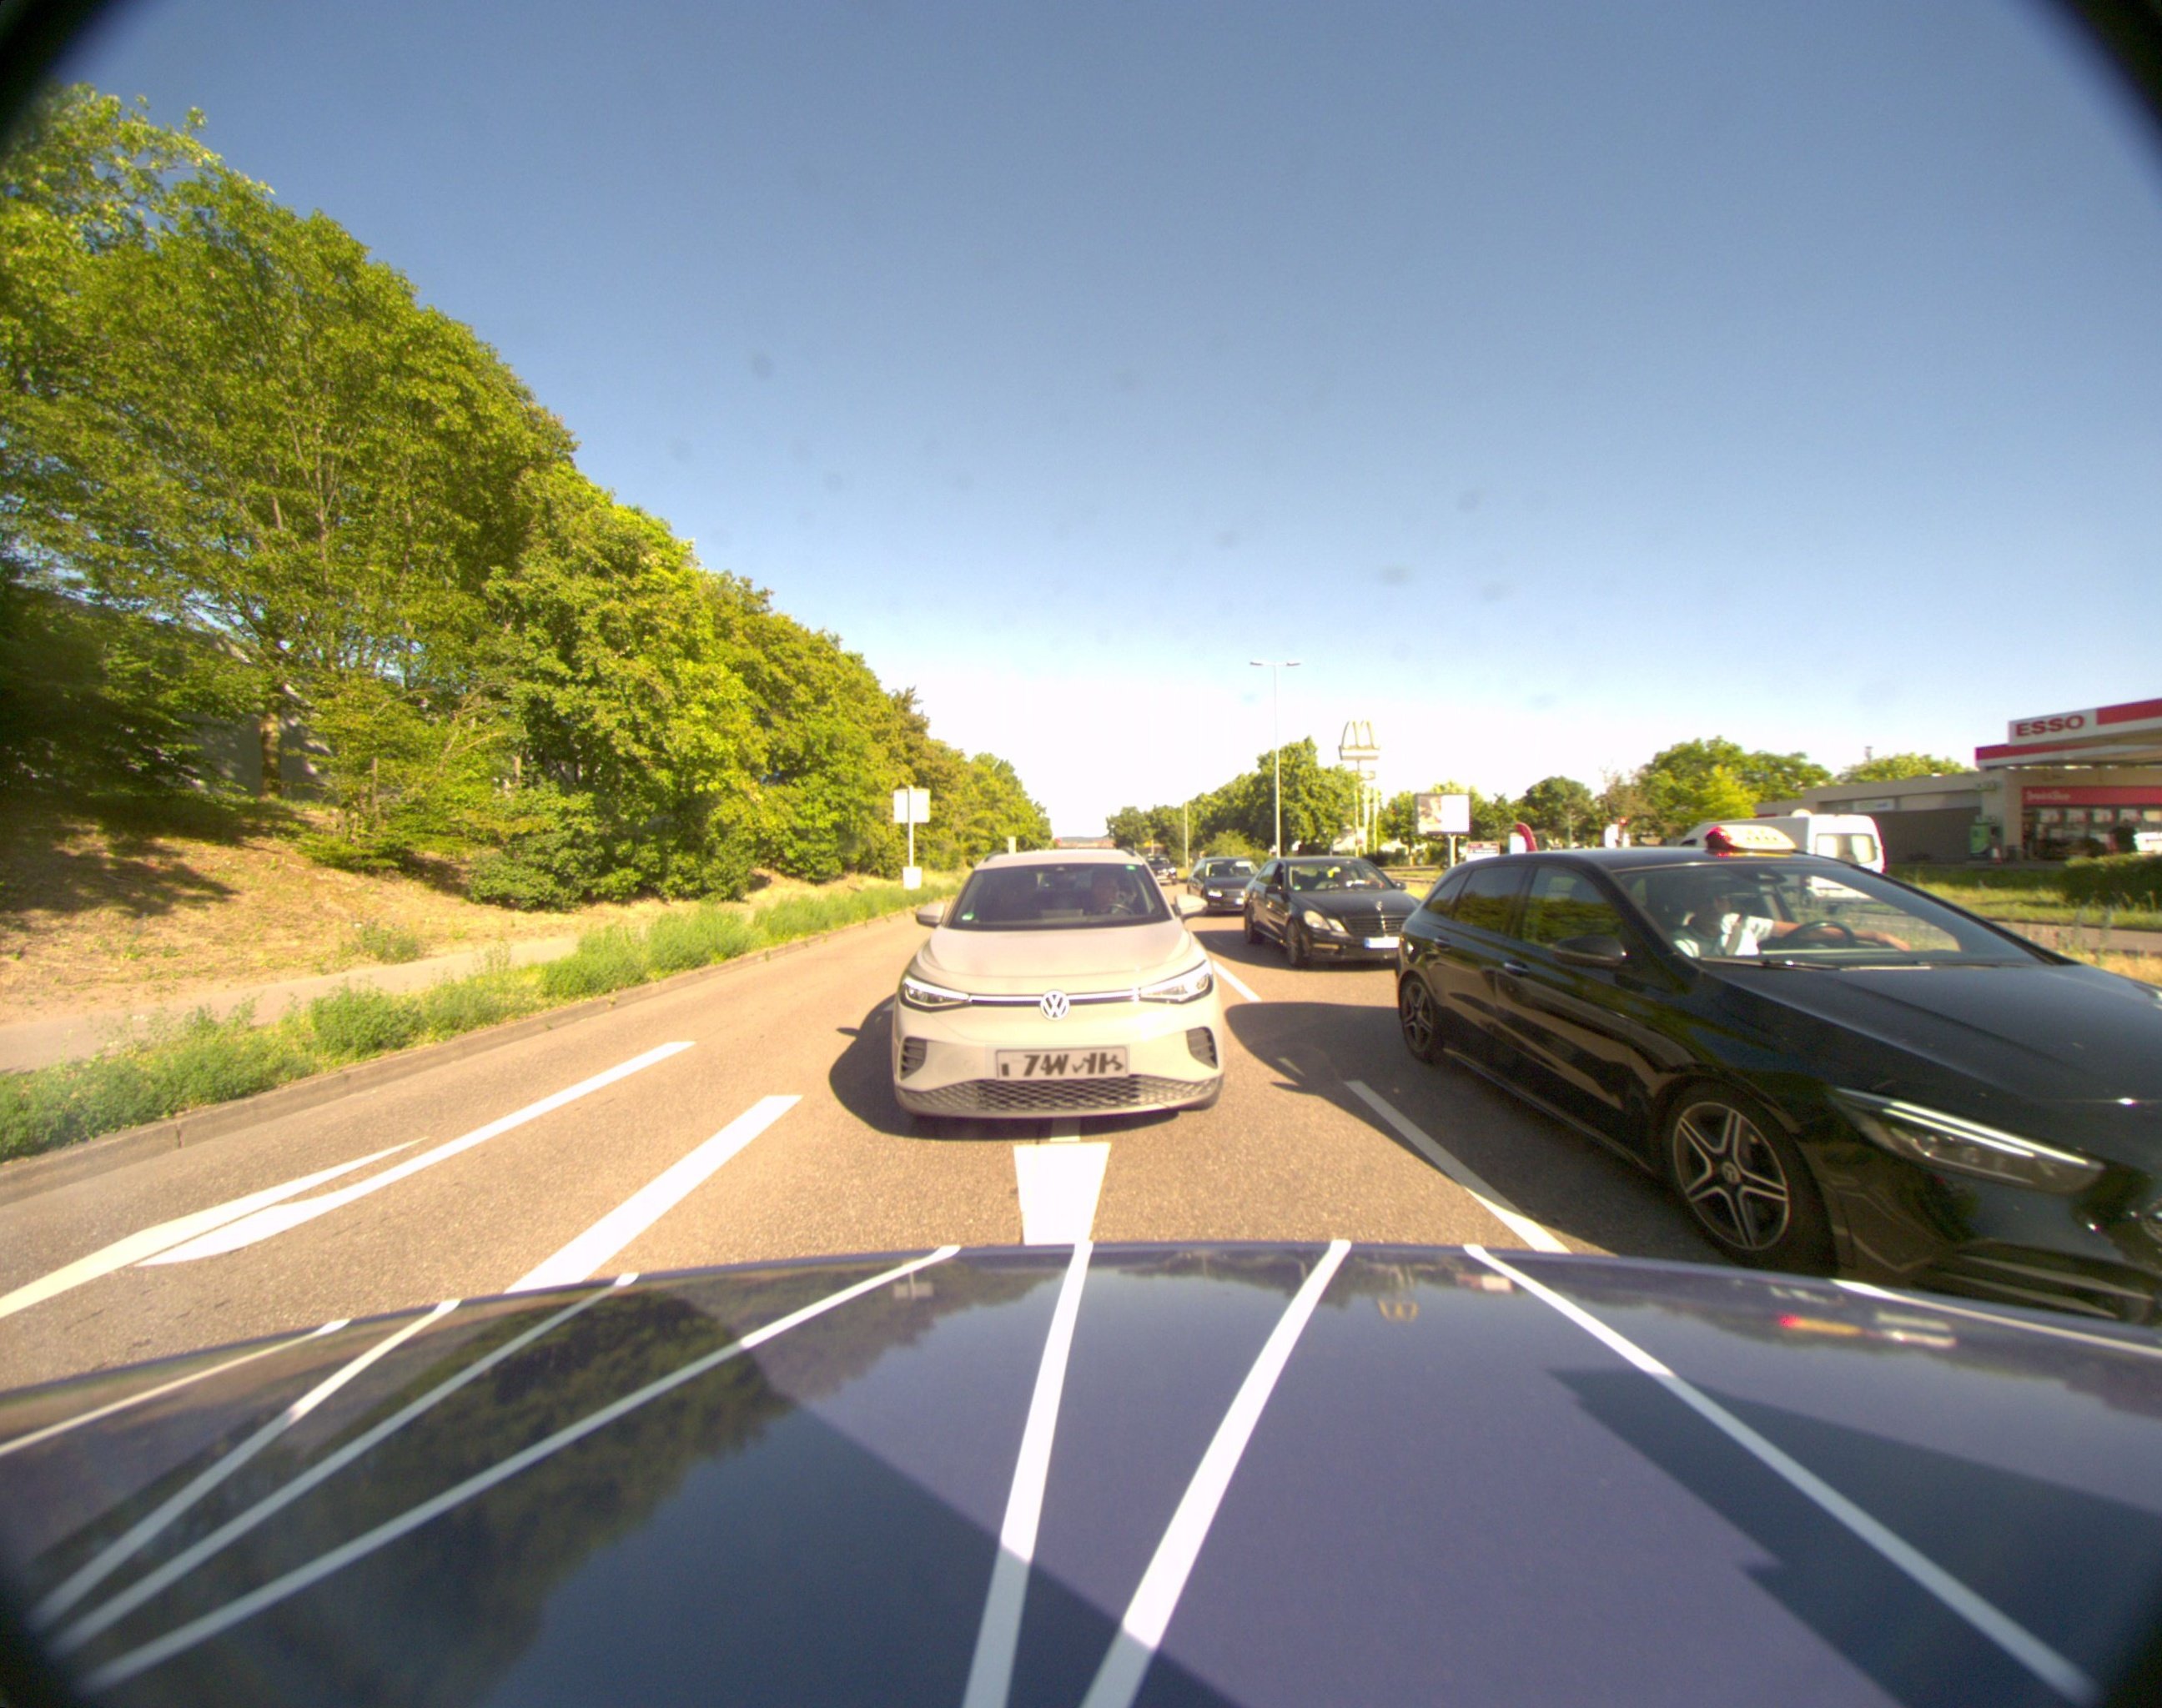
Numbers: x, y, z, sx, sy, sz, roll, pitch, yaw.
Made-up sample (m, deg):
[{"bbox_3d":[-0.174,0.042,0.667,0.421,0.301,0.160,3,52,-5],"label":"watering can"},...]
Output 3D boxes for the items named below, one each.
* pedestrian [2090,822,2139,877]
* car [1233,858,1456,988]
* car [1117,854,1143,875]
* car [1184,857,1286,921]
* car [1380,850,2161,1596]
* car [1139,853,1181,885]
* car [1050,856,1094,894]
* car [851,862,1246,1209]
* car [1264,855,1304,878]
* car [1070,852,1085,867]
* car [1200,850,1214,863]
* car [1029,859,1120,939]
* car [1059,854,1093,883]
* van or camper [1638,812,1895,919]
[{"bbox_3d":[38.828,-0.169,28.553,0.703,2.002,0.840,-1,0,1],"label":"pedestrian"},{"bbox_3d":[3.647,0.855,11.446,1.862,1.515,4.403,-1,0,1],"label":"car"},{"bbox_3d":[3.914,0.805,61.186,1.862,1.578,4.403,-1,0,1],"label":"car"},{"bbox_3d":[3.946,0.834,20.241,1.862,1.472,4.403,-1,0,1],"label":"car"},{"bbox_3d":[3.159,0.814,3.744,1.804,1.616,4.188,-1,0,2],"label":"car"},{"bbox_3d":[4.201,0.778,41.096,1.862,1.578,4.403,-1,0,1],"label":"car"},{"bbox_3d":[-0.342,0.892,33.286,1.765,1.503,3.760,-2,0,1],"label":"car"},{"bbox_3d":[-0.130,0.903,5.640,1.871,1.588,3.932,-2,0,1],"label":"car"},{"bbox_3d":[15.488,0.926,58.126,1.884,1.680,4.436,-1,0,0],"label":"car"},{"bbox_3d":[-0.511,0.878,122.363,2.289,2.275,5.381,-1,0,1],"label":"car"},{"bbox_3d":[20.295,0.438,122.454,1.998,2.002,4.001,-2,1,5],"label":"car"},{"bbox_3d":[-0.111,0.903,16.949,1.765,1.503,3.760,-2,0,1],"label":"car"},{"bbox_3d":[-0.251,0.759,42.503,1.765,1.503,3.760,-2,0,1],"label":"car"},{"bbox_3d":[19.343,0.289,22.004,1.999,2.635,5.956,1,0,0],"label":"van or camper"}]
